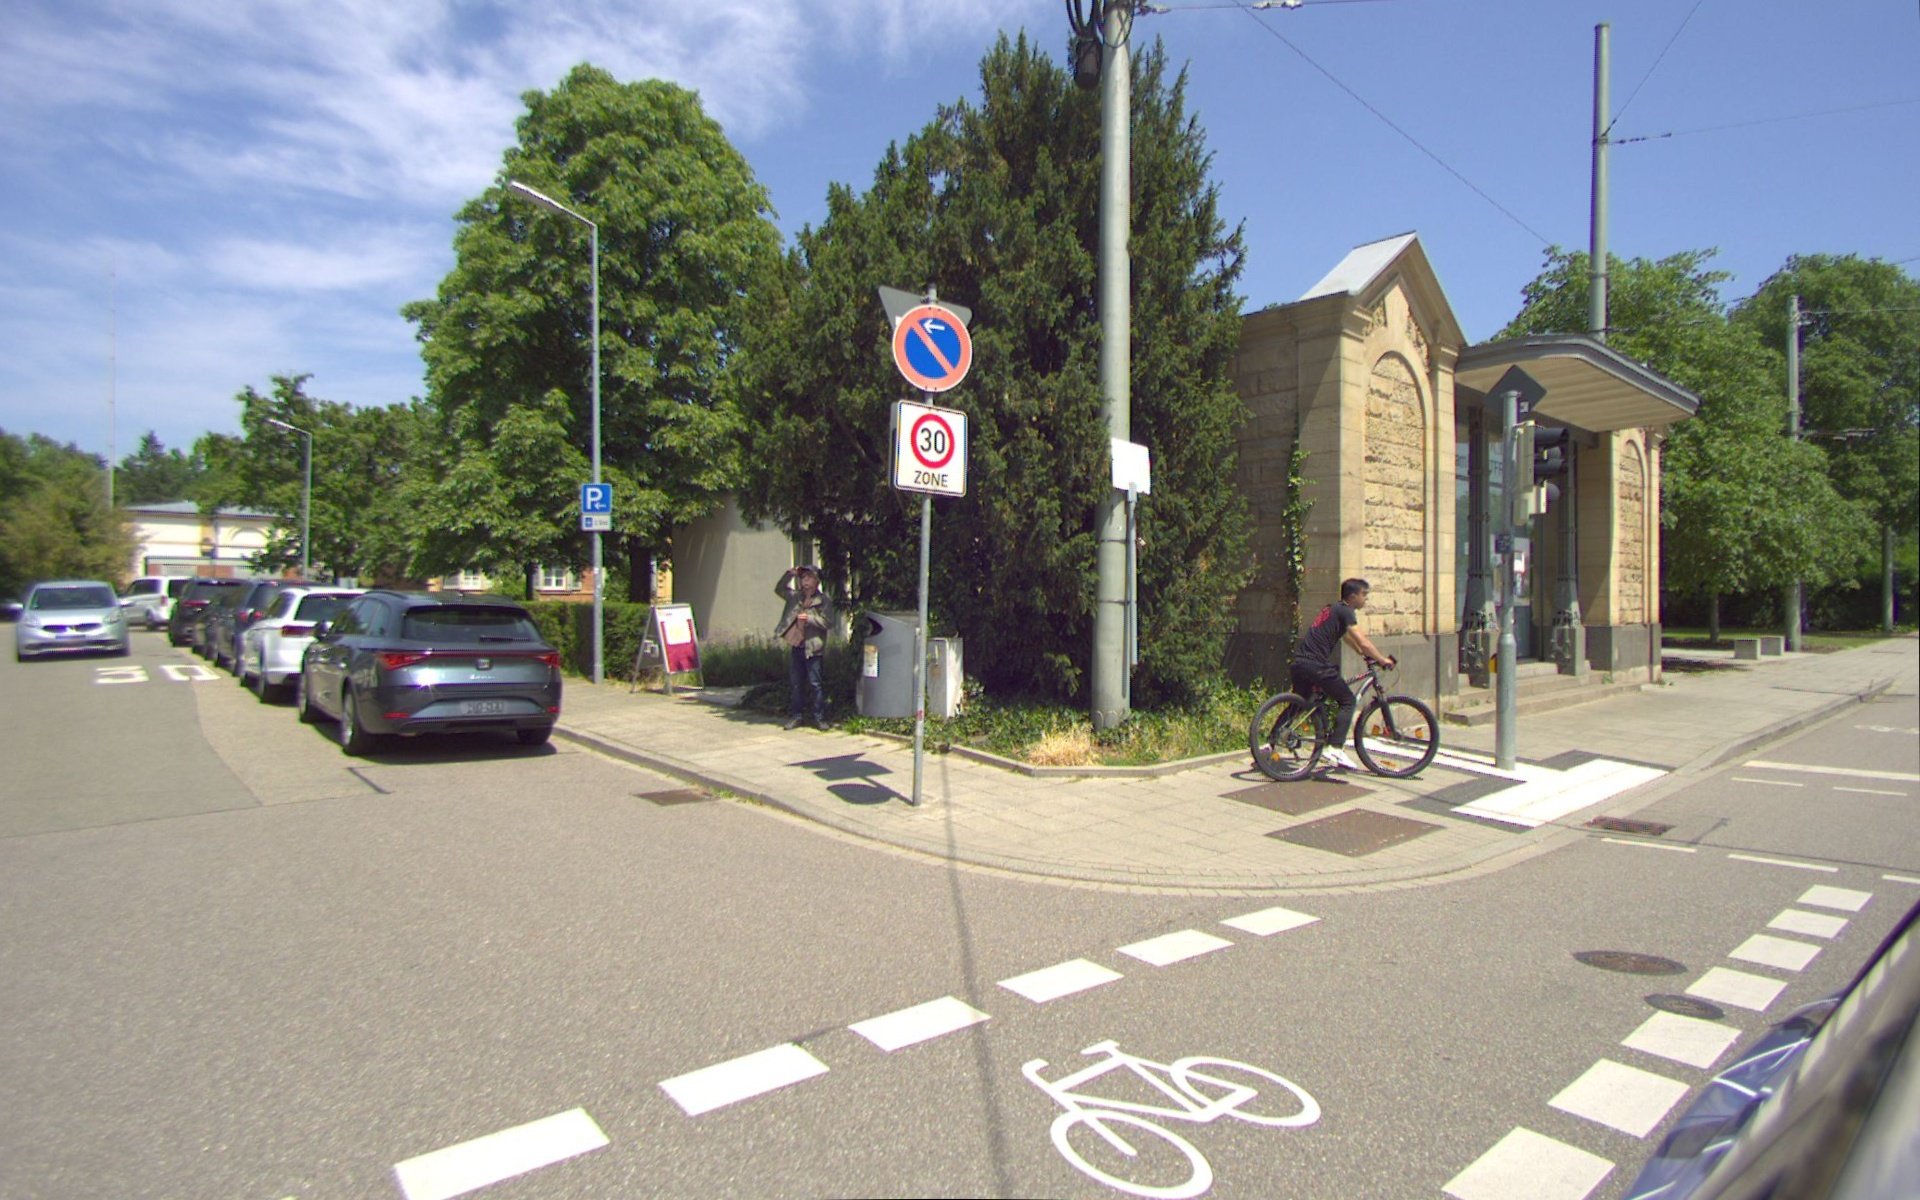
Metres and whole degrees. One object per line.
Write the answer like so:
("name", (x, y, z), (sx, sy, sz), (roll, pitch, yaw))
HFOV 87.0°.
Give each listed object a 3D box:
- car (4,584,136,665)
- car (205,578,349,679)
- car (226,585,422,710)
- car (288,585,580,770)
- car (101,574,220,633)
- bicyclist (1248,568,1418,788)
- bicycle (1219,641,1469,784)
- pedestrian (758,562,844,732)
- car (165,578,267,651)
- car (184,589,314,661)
("car", (-18.925, 0.451, 21.605), (1.965, 1.549, 3.994), (0, 1, -41))
("car", (-12.098, 0.446, 17.837), (1.680, 1.583, 3.699), (3, -1, -40))
("car", (-8.930, 0.555, 14.048), (1.680, 1.450, 4.335), (3, -1, -40))
("car", (-5.434, 0.613, 10.162), (1.680, 1.450, 4.234), (3, -1, -40))
("car", (-28.037, 0.088, 35.442), (4.628, 1.924, 1.852), (0, 0, 32))
("bicyclist", (2.995, 0.599, 8.195), (0.842, 1.637, 0.837), (3, 3, -18))
("bicycle", (3.127, 0.910, 8.266), (1.824, 1.014, 0.672), (3, 3, -18))
("pedestrian", (-1.570, 0.443, 10.008), (0.618, 1.611, 0.603), (0, 0, -40))
("car", (-19.051, 0.316, 25.852), (1.754, 1.720, 3.685), (0, 0, -42))
("car", (-15.401, 0.475, 21.828), (1.820, 1.371, 4.285), (0, 0, -42))
